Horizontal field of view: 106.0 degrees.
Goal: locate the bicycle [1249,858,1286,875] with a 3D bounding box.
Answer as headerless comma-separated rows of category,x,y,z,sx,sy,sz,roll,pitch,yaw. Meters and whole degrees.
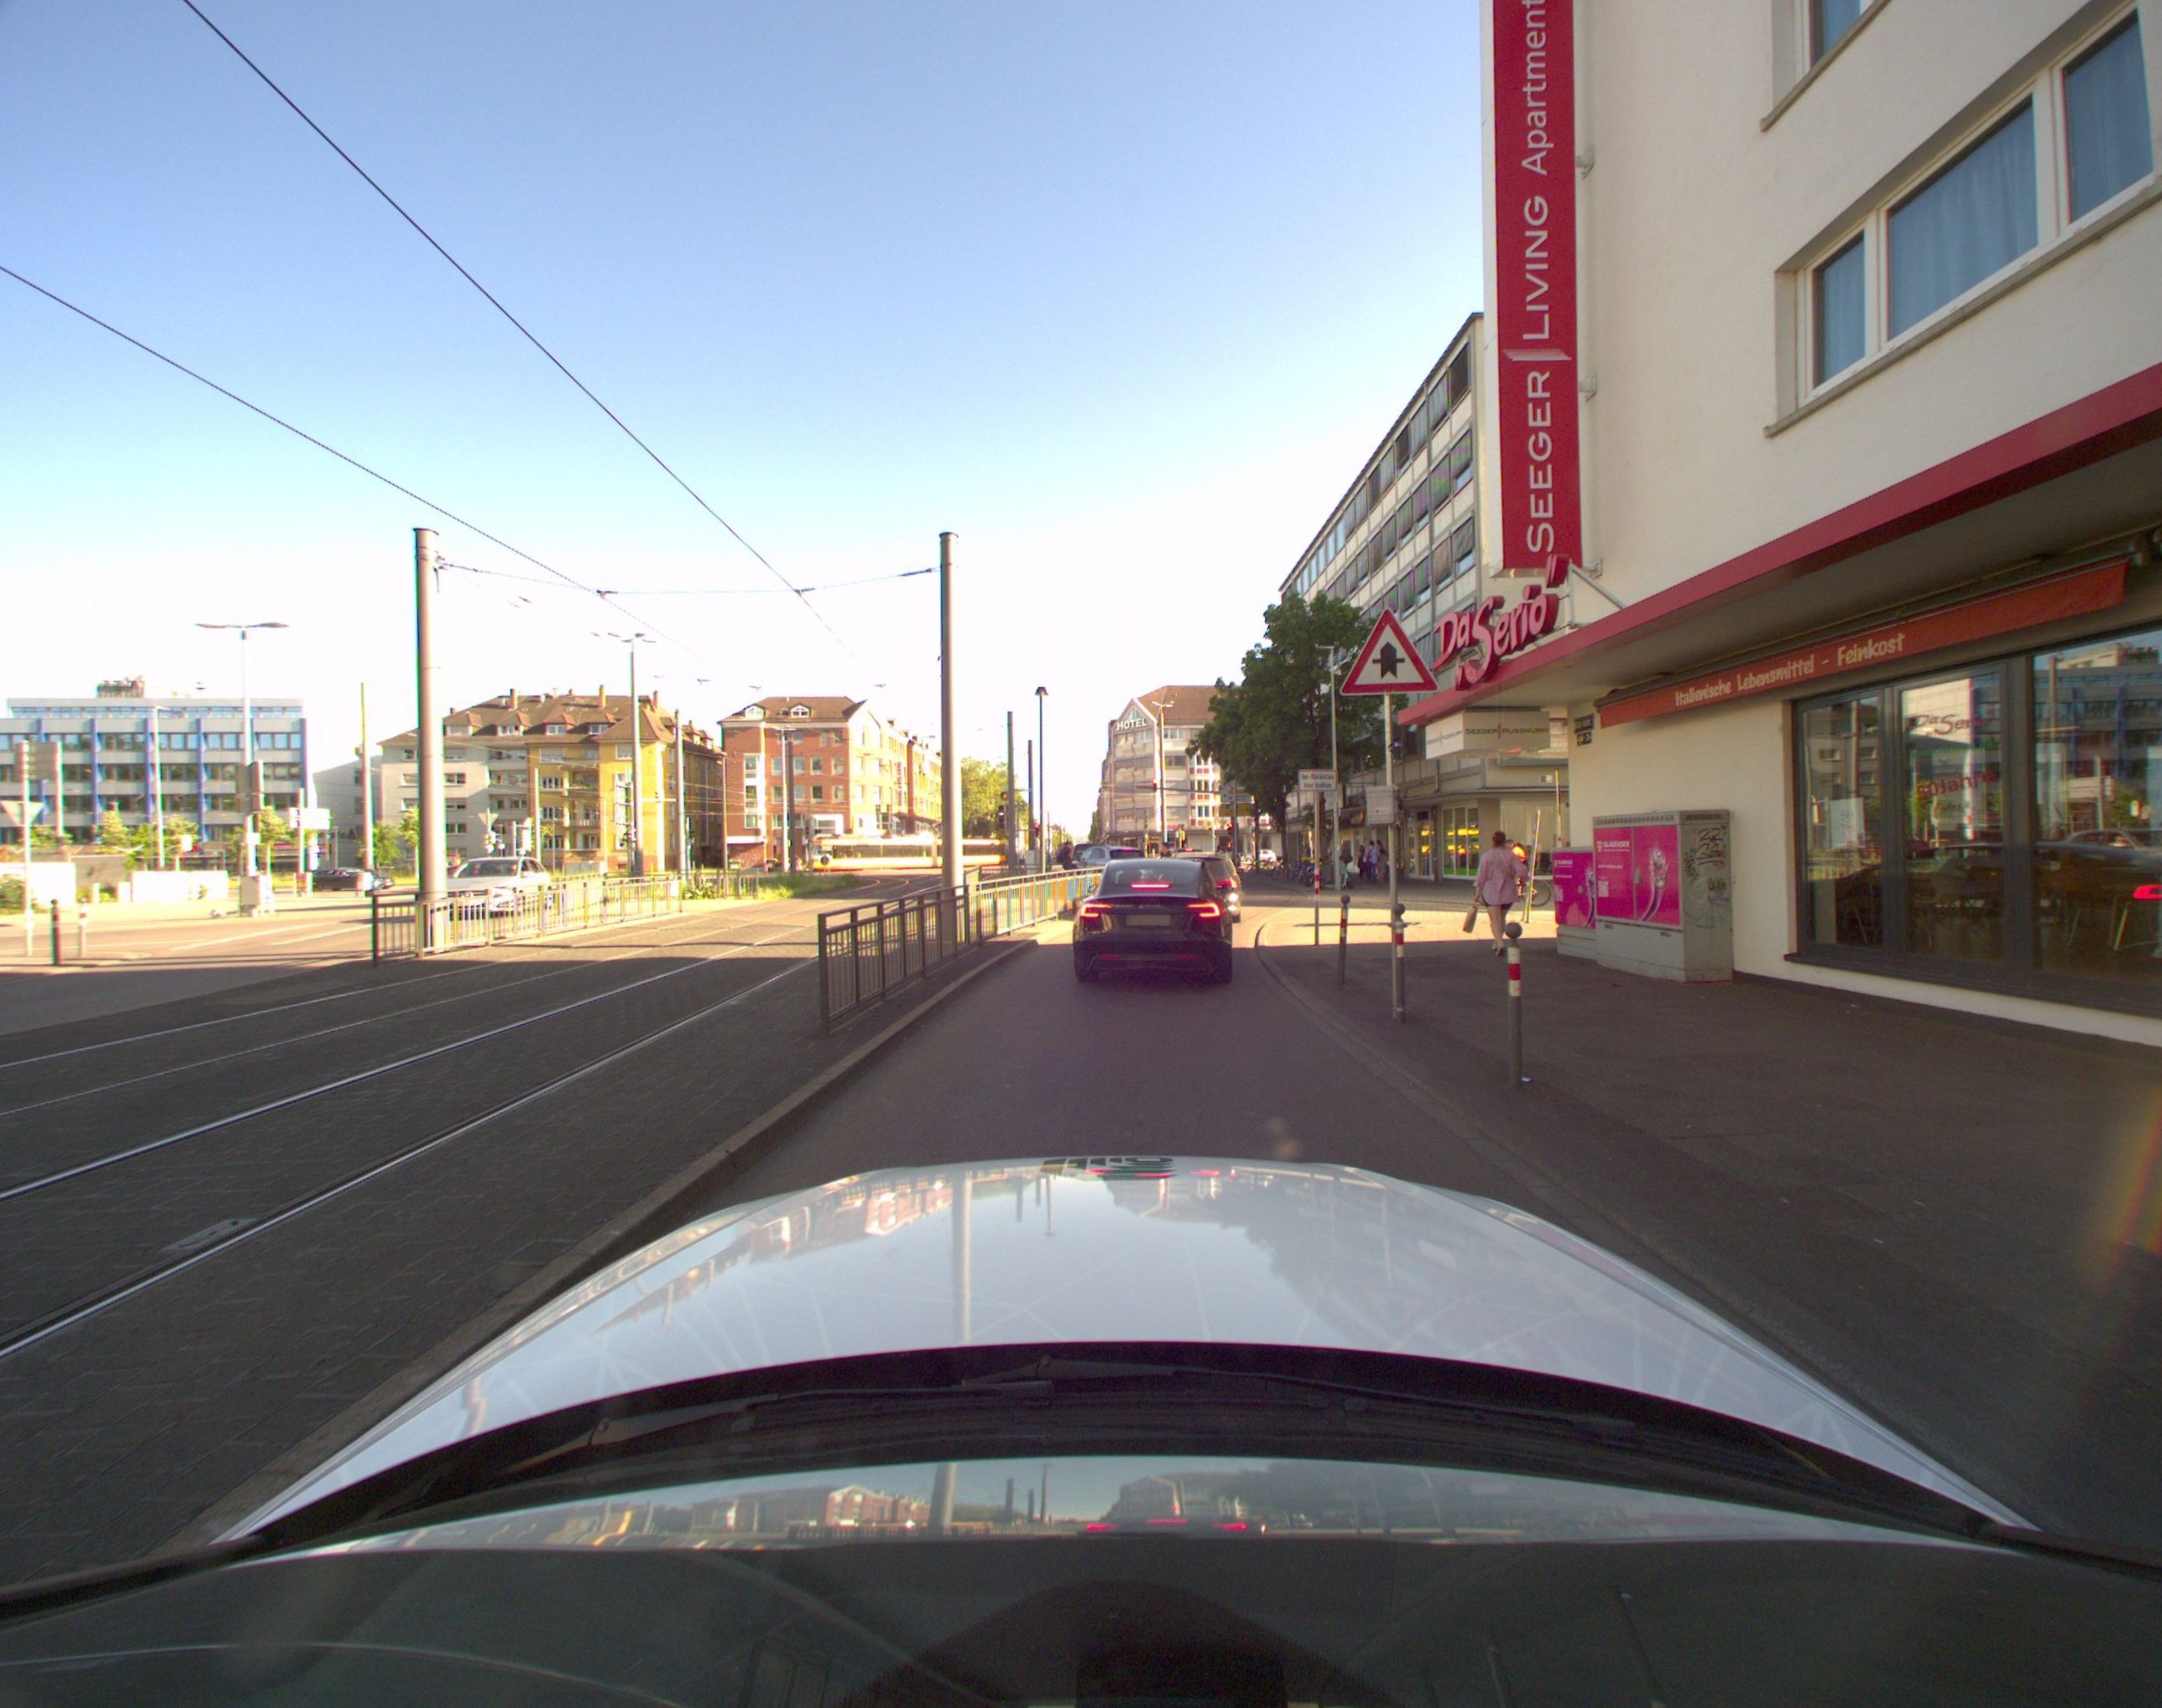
bicycle,10.130,0.692,44.213,1.917,0.890,0.526,0,0,1

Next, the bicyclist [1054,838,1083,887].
bicyclist,-0.386,0.255,25.259,0.835,1.500,0.558,1,-1,-7

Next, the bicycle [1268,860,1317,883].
bicycle,9.366,0.772,36.165,2.044,0.982,0.483,0,-1,1

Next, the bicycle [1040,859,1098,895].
bicycle,-0.368,0.700,25.266,1.726,1.088,0.676,1,0,-8

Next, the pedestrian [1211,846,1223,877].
pedestrian,7.380,0.387,44.236,0.559,1.683,0.751,0,0,5

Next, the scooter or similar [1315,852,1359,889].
scooter or similar,9.298,0.591,29.560,1.416,1.317,0.691,0,-2,-25

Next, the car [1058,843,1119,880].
car,0.271,0.313,35.917,1.826,1.519,4.200,1,0,-12

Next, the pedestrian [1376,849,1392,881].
pedestrian,12.259,0.449,32.986,0.418,1.280,0.531,-2,-1,2

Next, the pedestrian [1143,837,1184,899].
pedestrian,2.355,0.405,23.310,1.009,1.742,0.524,1,-1,-25

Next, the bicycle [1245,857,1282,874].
bicycle,10.126,0.645,45.201,1.917,0.890,0.526,0,0,1

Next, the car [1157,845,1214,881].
car,4.599,0.384,36.417,1.821,1.519,3.643,1,0,-5

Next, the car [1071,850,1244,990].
car,0.804,0.714,10.593,1.843,1.484,3.786,0,0,-1

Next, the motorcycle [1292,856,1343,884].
motorcycle,9.872,0.669,34.017,1.984,1.128,0.596,1,0,0

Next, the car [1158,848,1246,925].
car,2.632,0.602,17.513,1.643,1.418,4.011,1,1,10

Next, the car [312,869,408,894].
car,-45.746,1.720,51.740,4.144,1.490,1.933,0,0,-9

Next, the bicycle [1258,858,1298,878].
bicycle,9.921,0.708,41.053,1.917,0.950,0.526,0,0,1

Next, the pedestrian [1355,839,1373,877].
pedestrian,12.425,0.191,35.747,0.529,1.641,0.607,-2,-1,2

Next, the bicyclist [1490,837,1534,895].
bicyclist,10.997,0.304,20.807,0.900,1.438,0.631,1,-1,19

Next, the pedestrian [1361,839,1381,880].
pedestrian,11.682,0.217,32.760,0.593,1.641,0.466,-2,-1,2

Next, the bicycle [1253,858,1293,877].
bicycle,9.904,0.711,42.070,1.917,0.950,0.526,0,0,1

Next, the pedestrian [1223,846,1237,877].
pedestrian,7.704,0.386,42.067,0.626,1.613,0.643,0,0,4

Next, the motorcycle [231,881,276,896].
motorcycle,-51.347,2.129,50.553,1.996,0.893,0.560,1,0,-8

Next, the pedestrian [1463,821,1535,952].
pedestrian,5.609,0.412,10.978,0.810,1.683,0.718,1,-1,23

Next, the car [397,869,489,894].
car,-40.450,1.733,51.722,4.144,1.490,1.933,0,0,-9

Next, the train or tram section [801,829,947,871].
train or tram section,-19.563,-0.294,78.485,2.650,3.715,14.275,0,0,44

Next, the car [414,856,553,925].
car,-15.641,0.873,21.601,1.788,1.568,4.263,-2,1,-20

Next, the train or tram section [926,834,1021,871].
train or tram section,-11.594,-0.121,90.564,2.613,3.718,15.473,1,0,25

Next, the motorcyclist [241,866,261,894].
motorcyclist,-51.494,1.620,50.536,0.780,1.708,0.387,1,-1,-7

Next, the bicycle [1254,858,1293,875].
bicycle,10.210,0.673,43.193,1.917,0.888,0.526,0,0,1

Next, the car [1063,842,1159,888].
car,0.997,0.369,29.553,1.791,1.519,4.184,1,0,-24

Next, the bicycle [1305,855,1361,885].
bicycle,9.856,0.626,31.936,2.044,1.121,0.483,0,-1,1

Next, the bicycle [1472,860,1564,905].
bicycle,11.112,0.718,20.768,1.957,1.072,0.778,1,0,19

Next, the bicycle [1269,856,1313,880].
bicycle,9.799,0.631,38.063,1.917,1.097,0.555,0,-1,1
